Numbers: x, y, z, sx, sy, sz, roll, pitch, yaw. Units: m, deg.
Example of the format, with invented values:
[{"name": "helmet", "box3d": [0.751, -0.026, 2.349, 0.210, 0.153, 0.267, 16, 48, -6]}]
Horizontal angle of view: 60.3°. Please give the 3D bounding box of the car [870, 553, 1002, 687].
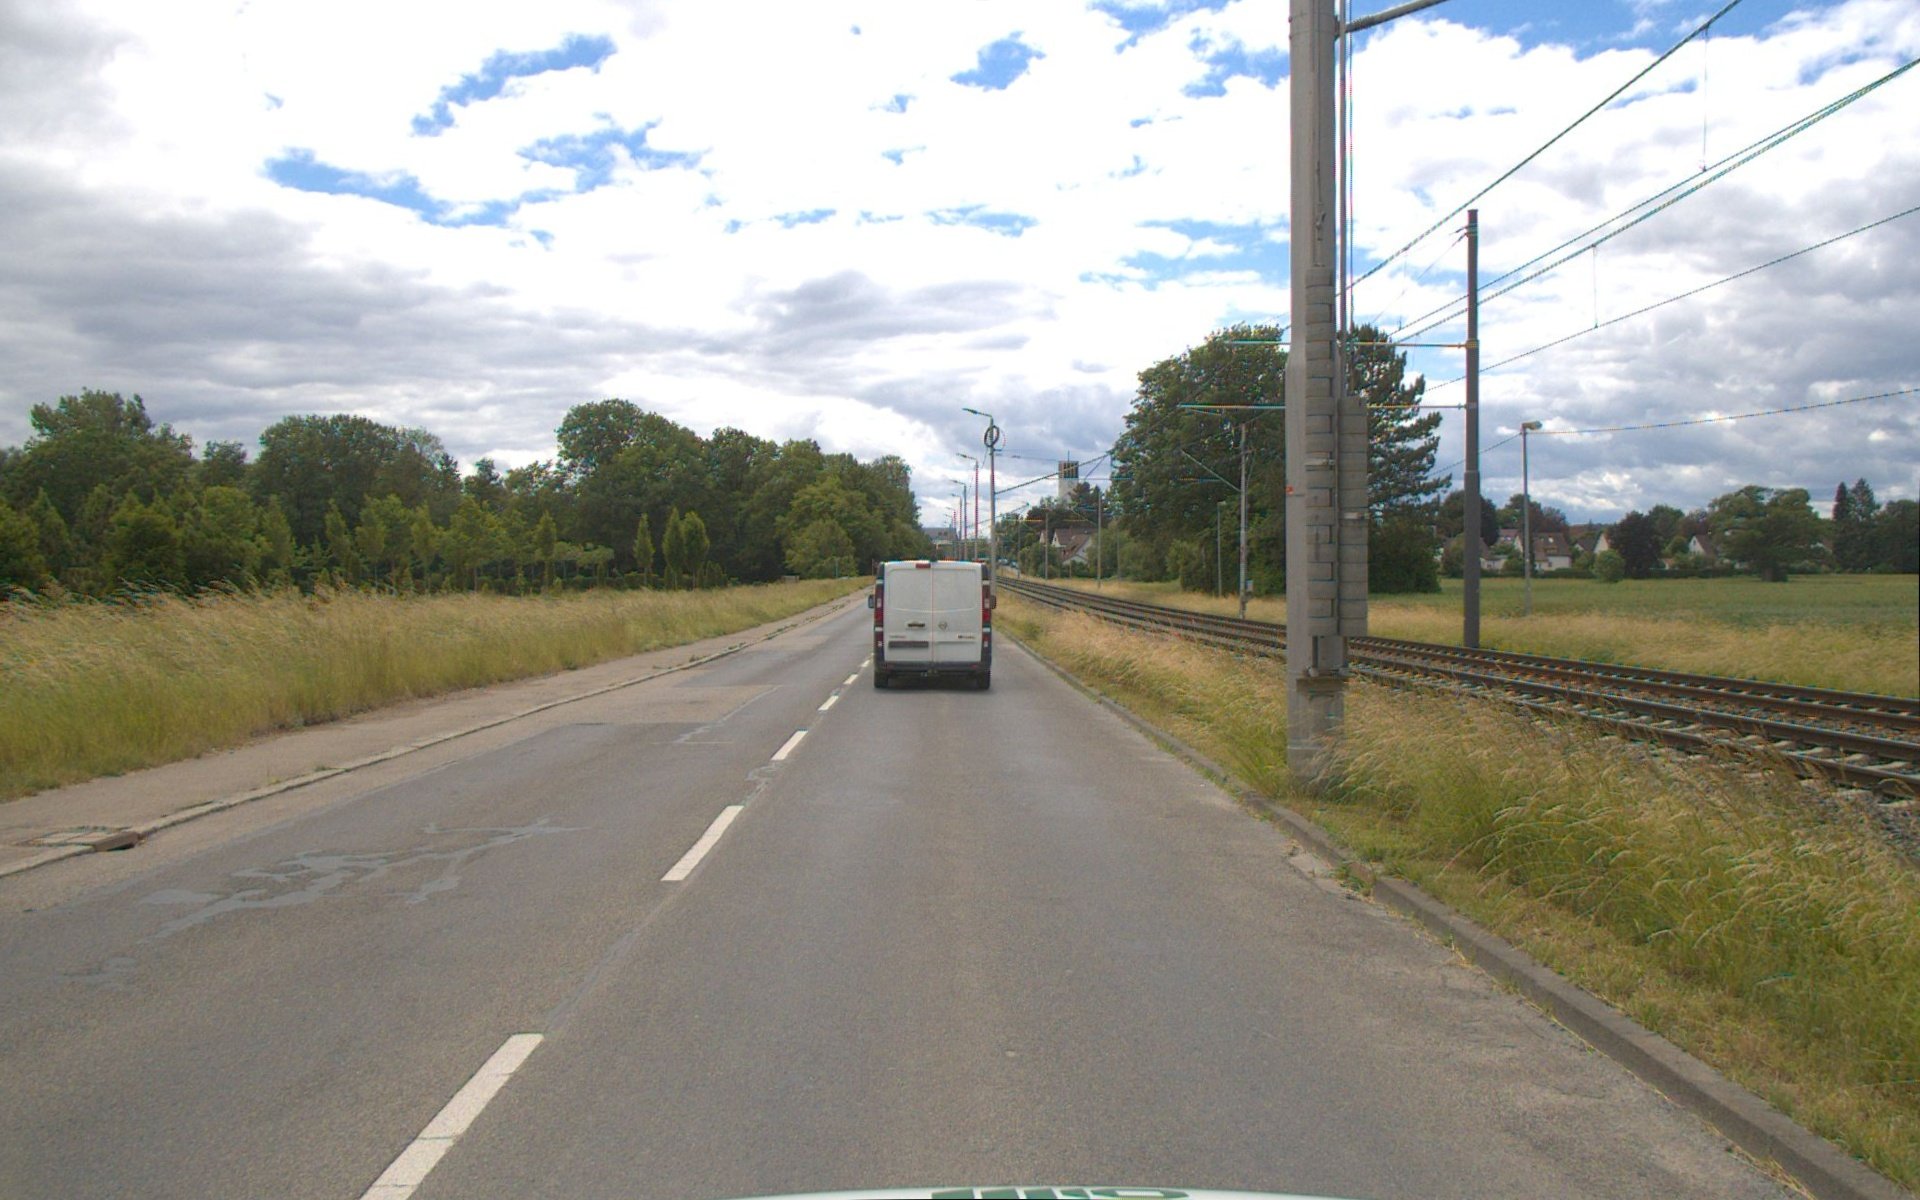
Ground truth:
[{"name": "car", "box3d": [-0.428, 0.288, 26.671, 1.953, 1.991, 3.998, 0, 0, -2]}]
